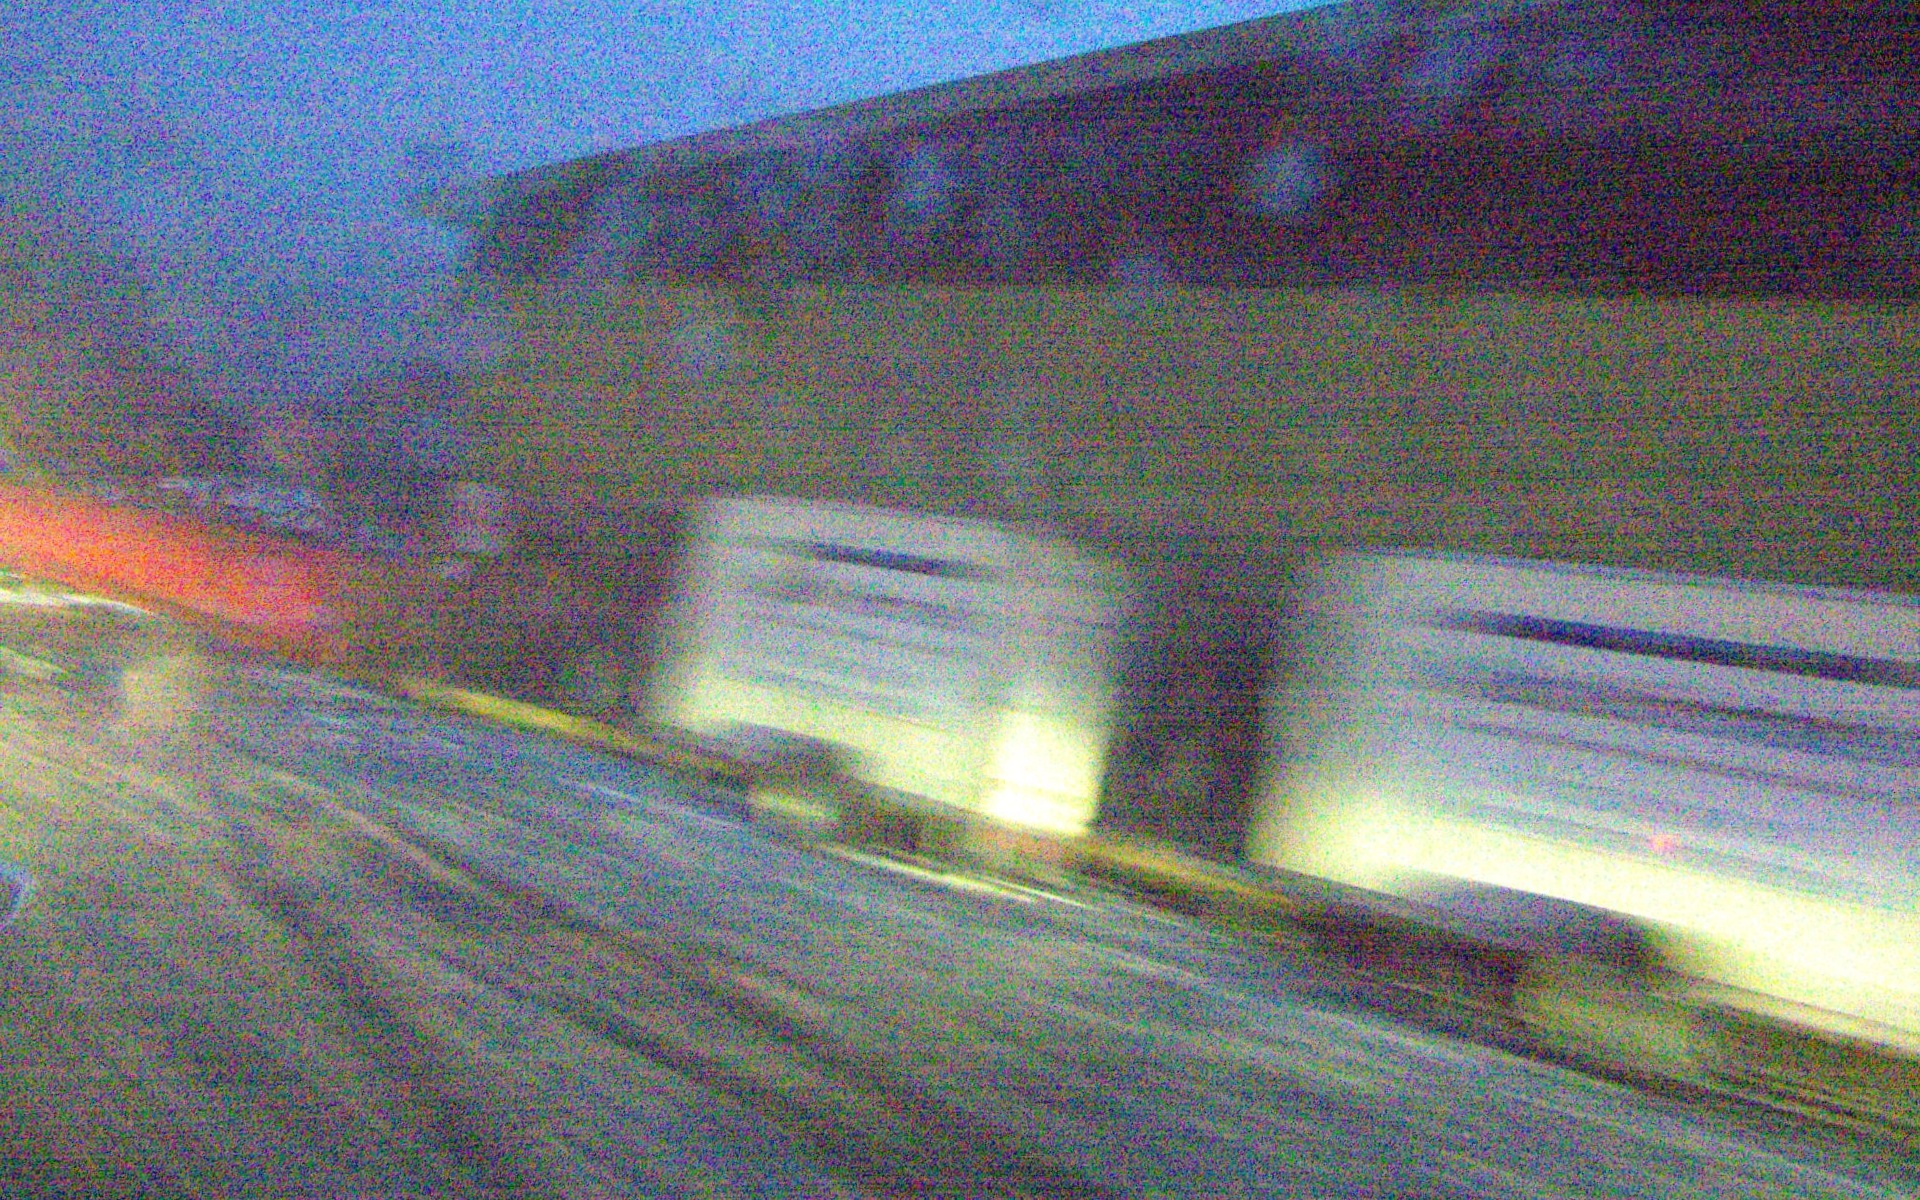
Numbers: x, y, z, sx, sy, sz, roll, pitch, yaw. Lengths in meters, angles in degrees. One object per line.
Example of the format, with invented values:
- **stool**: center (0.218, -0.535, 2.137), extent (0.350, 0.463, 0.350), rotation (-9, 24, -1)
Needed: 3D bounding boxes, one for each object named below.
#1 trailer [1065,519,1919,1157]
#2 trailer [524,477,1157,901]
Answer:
- **trailer**: center (3.062, 1.038, 5.648), extent (4.356, 2.375, 1.612), rotation (7, -5, 30)
- **trailer**: center (-1.055, 0.511, 7.941), extent (4.574, 2.388, 1.636), rotation (7, -5, 30)
